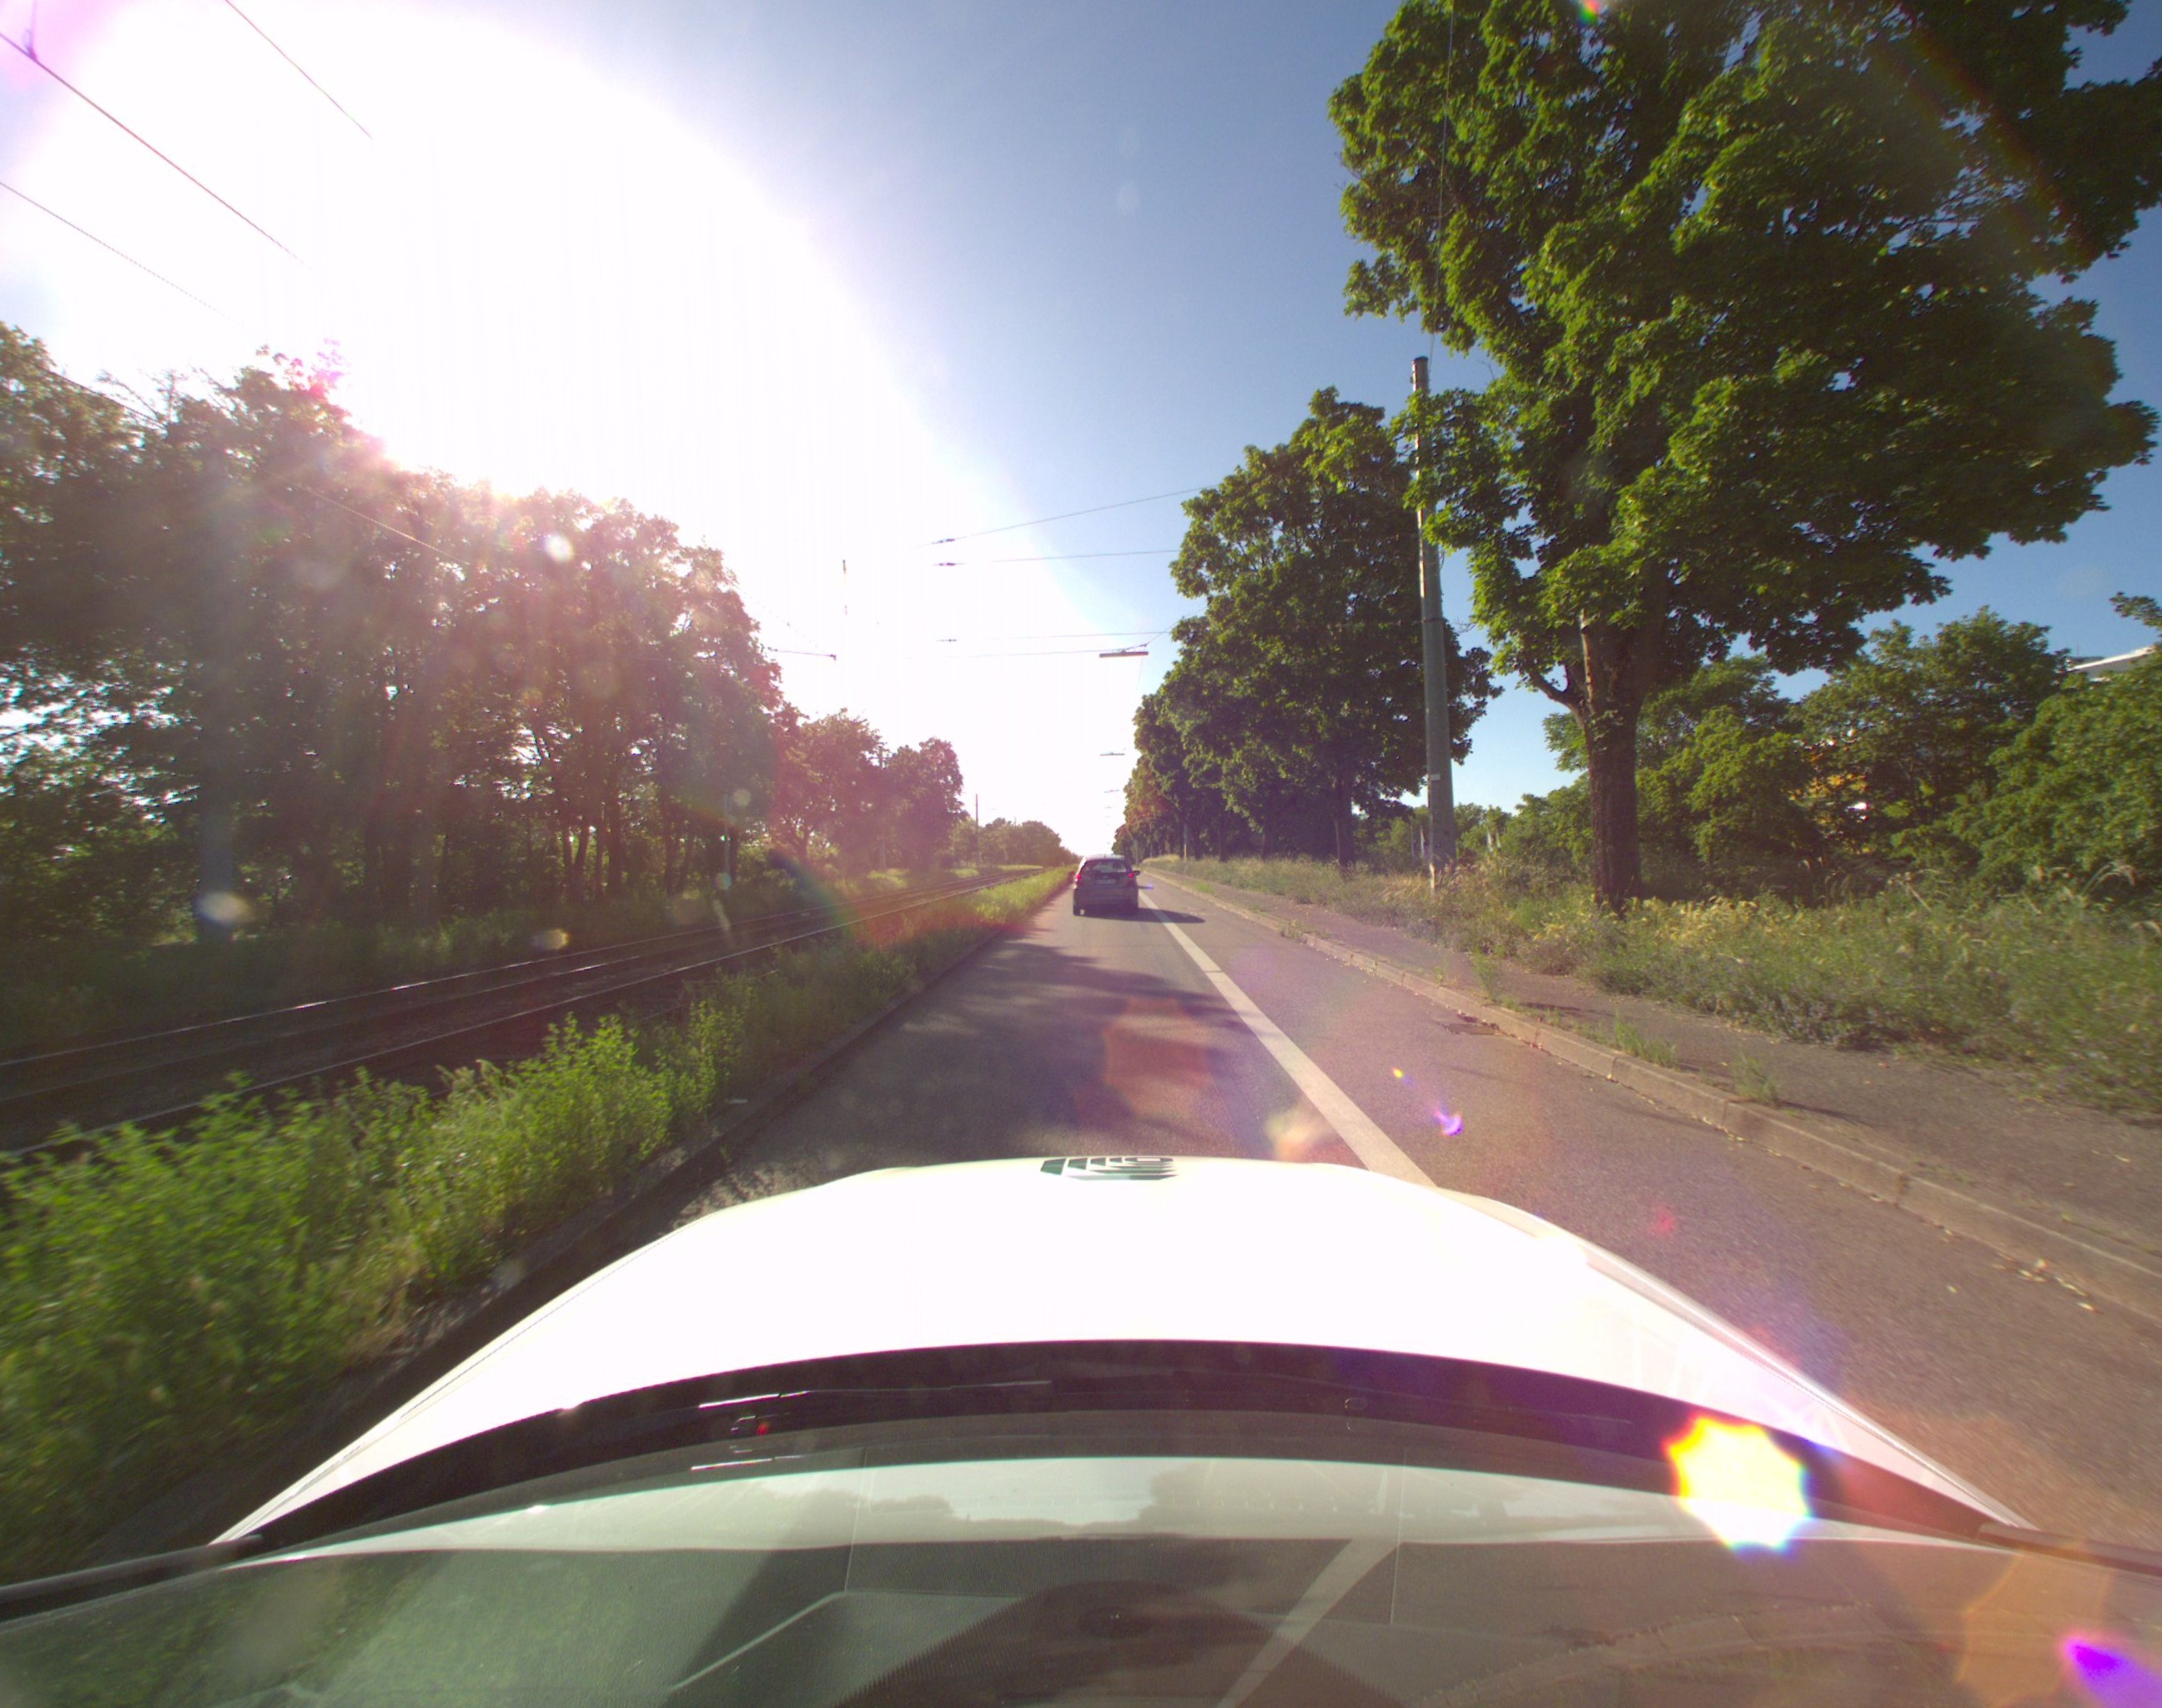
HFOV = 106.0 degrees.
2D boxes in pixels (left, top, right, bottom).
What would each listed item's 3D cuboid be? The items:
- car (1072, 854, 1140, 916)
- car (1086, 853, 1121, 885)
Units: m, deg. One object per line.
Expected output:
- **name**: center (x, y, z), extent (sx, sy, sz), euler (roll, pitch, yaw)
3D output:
- **car**: center (0.694, 0.771, 21.931), extent (1.663, 1.507, 3.813), euler (0, 0, 2)
- **car**: center (1.130, 0.720, 39.885), extent (1.648, 1.507, 3.813), euler (0, 0, 2)
